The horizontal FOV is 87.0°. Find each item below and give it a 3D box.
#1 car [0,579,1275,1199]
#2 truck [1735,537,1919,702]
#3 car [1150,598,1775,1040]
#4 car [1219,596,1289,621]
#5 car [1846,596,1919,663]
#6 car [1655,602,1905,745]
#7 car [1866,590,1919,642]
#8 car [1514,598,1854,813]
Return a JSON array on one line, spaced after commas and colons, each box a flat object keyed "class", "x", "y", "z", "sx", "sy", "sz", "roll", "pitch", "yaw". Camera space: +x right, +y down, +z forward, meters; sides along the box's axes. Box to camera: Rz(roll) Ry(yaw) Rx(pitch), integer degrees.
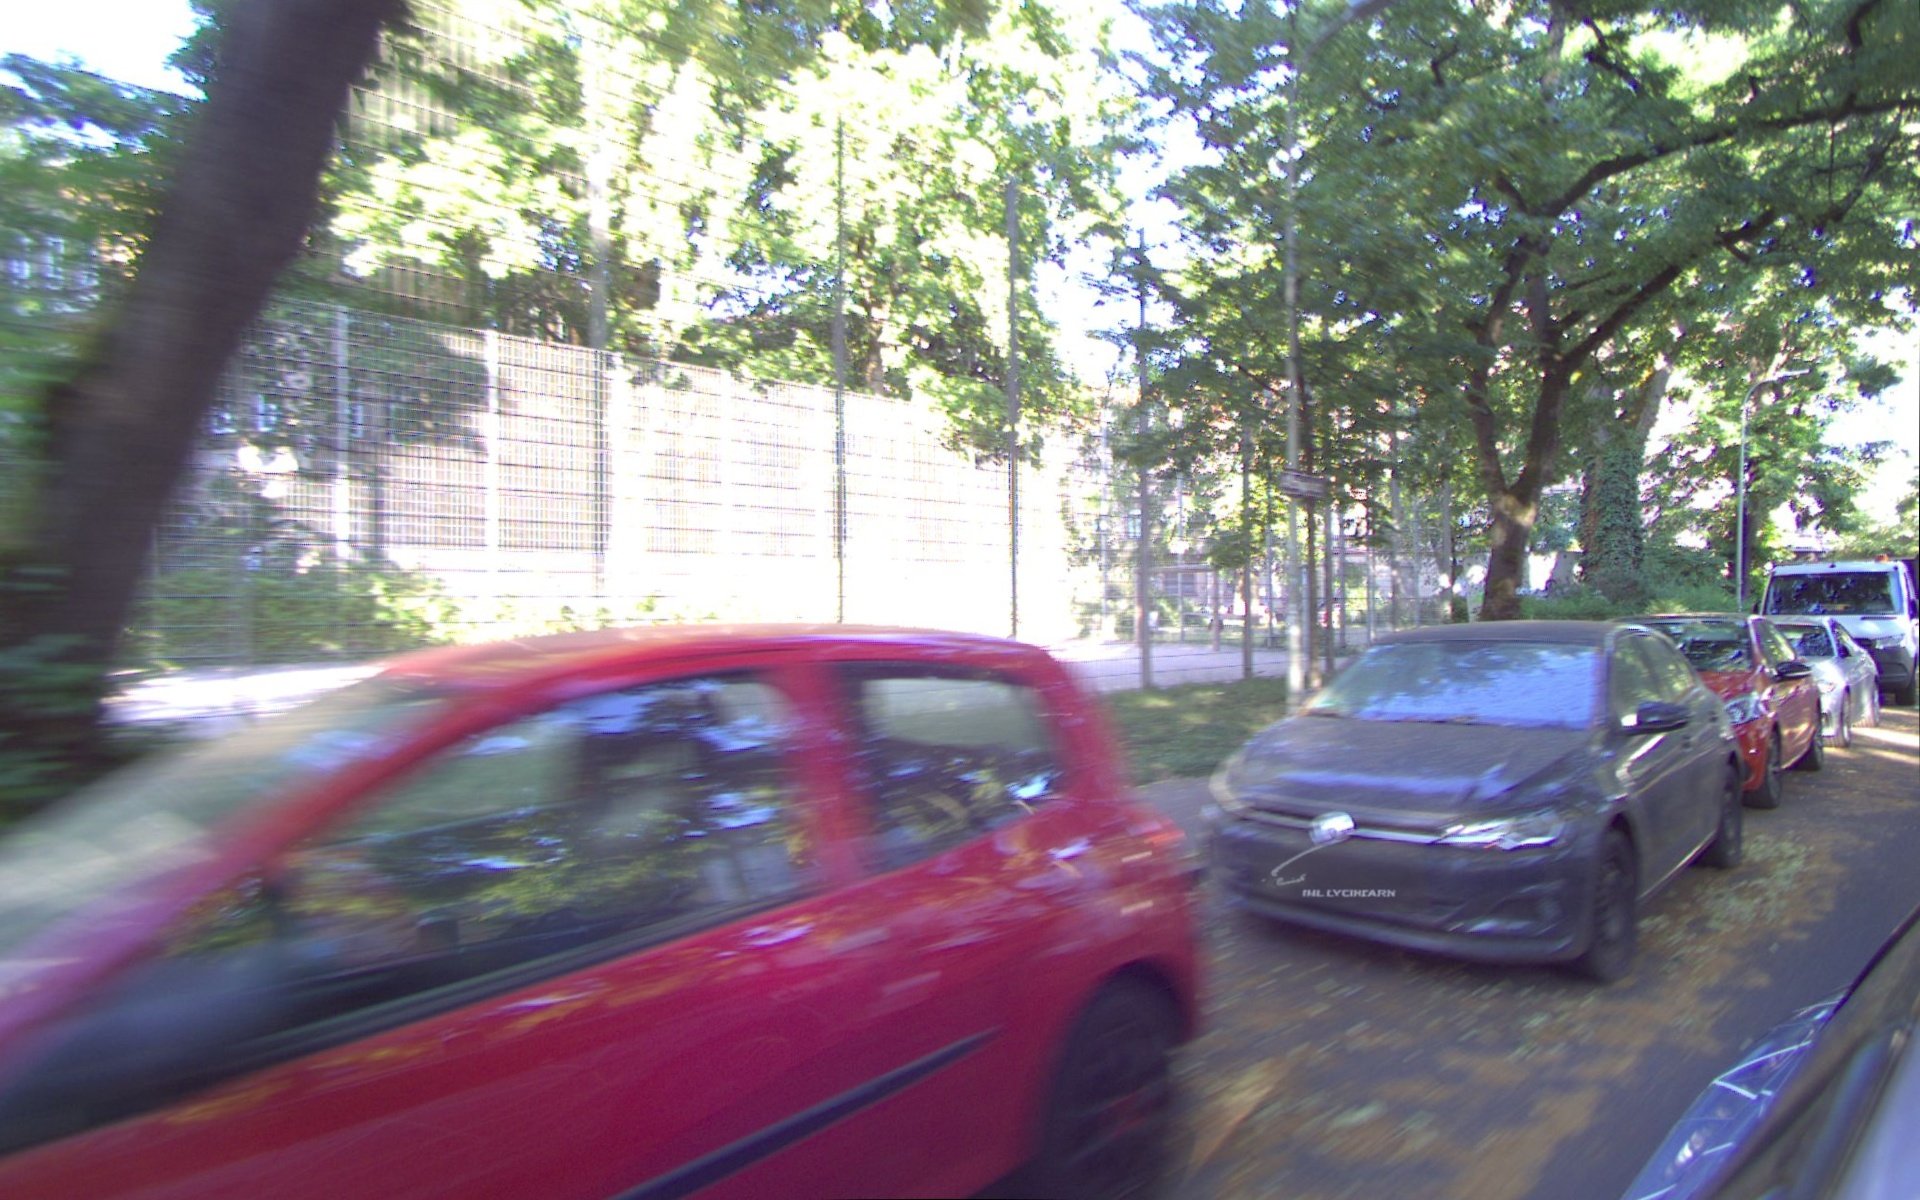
[{"class": "car", "x": -0.962, "y": 0.718, "z": 2.247, "sx": 3.493, "sy": 1.472, "sz": 1.593, "roll": 0, "pitch": -1, "yaw": -42}, {"class": "truck", "x": 15.861, "y": 0.279, "z": 17.950, "sx": 6.818, "sy": 2.416, "sz": 2.297, "roll": 0, "pitch": -1, "yaw": -44}, {"class": "car", "x": 2.868, "y": 0.743, "z": 5.353, "sx": 3.882, "sy": 1.472, "sz": 1.674, "roll": 0, "pitch": -1, "yaw": -43}, {"class": "car", "x": 17.728, "y": 0.486, "z": 61.215, "sx": 3.941, "sy": 1.427, "sz": 1.793, "roll": 1, "pitch": 1, "yaw": 14}, {"class": "car", "x": 22.425, "y": 0.662, "z": 24.135, "sx": 3.830, "sy": 1.477, "sz": 1.673, "roll": 0, "pitch": -1, "yaw": -45}, {"class": "car", "x": 10.039, "y": 0.755, "z": 12.272, "sx": 4.224, "sy": 1.415, "sz": 1.674, "roll": 0, "pitch": -1, "yaw": -42}, {"class": "car", "x": 32.784, "y": 0.523, "z": 35.232, "sx": 1.786, "sy": 1.729, "sz": 4.310, "roll": -1, "pitch": -1, "yaw": 42}, {"class": "car", "x": 6.524, "y": 0.738, "z": 8.963, "sx": 3.882, "sy": 1.472, "sz": 1.674, "roll": 0, "pitch": -1, "yaw": -43}]
